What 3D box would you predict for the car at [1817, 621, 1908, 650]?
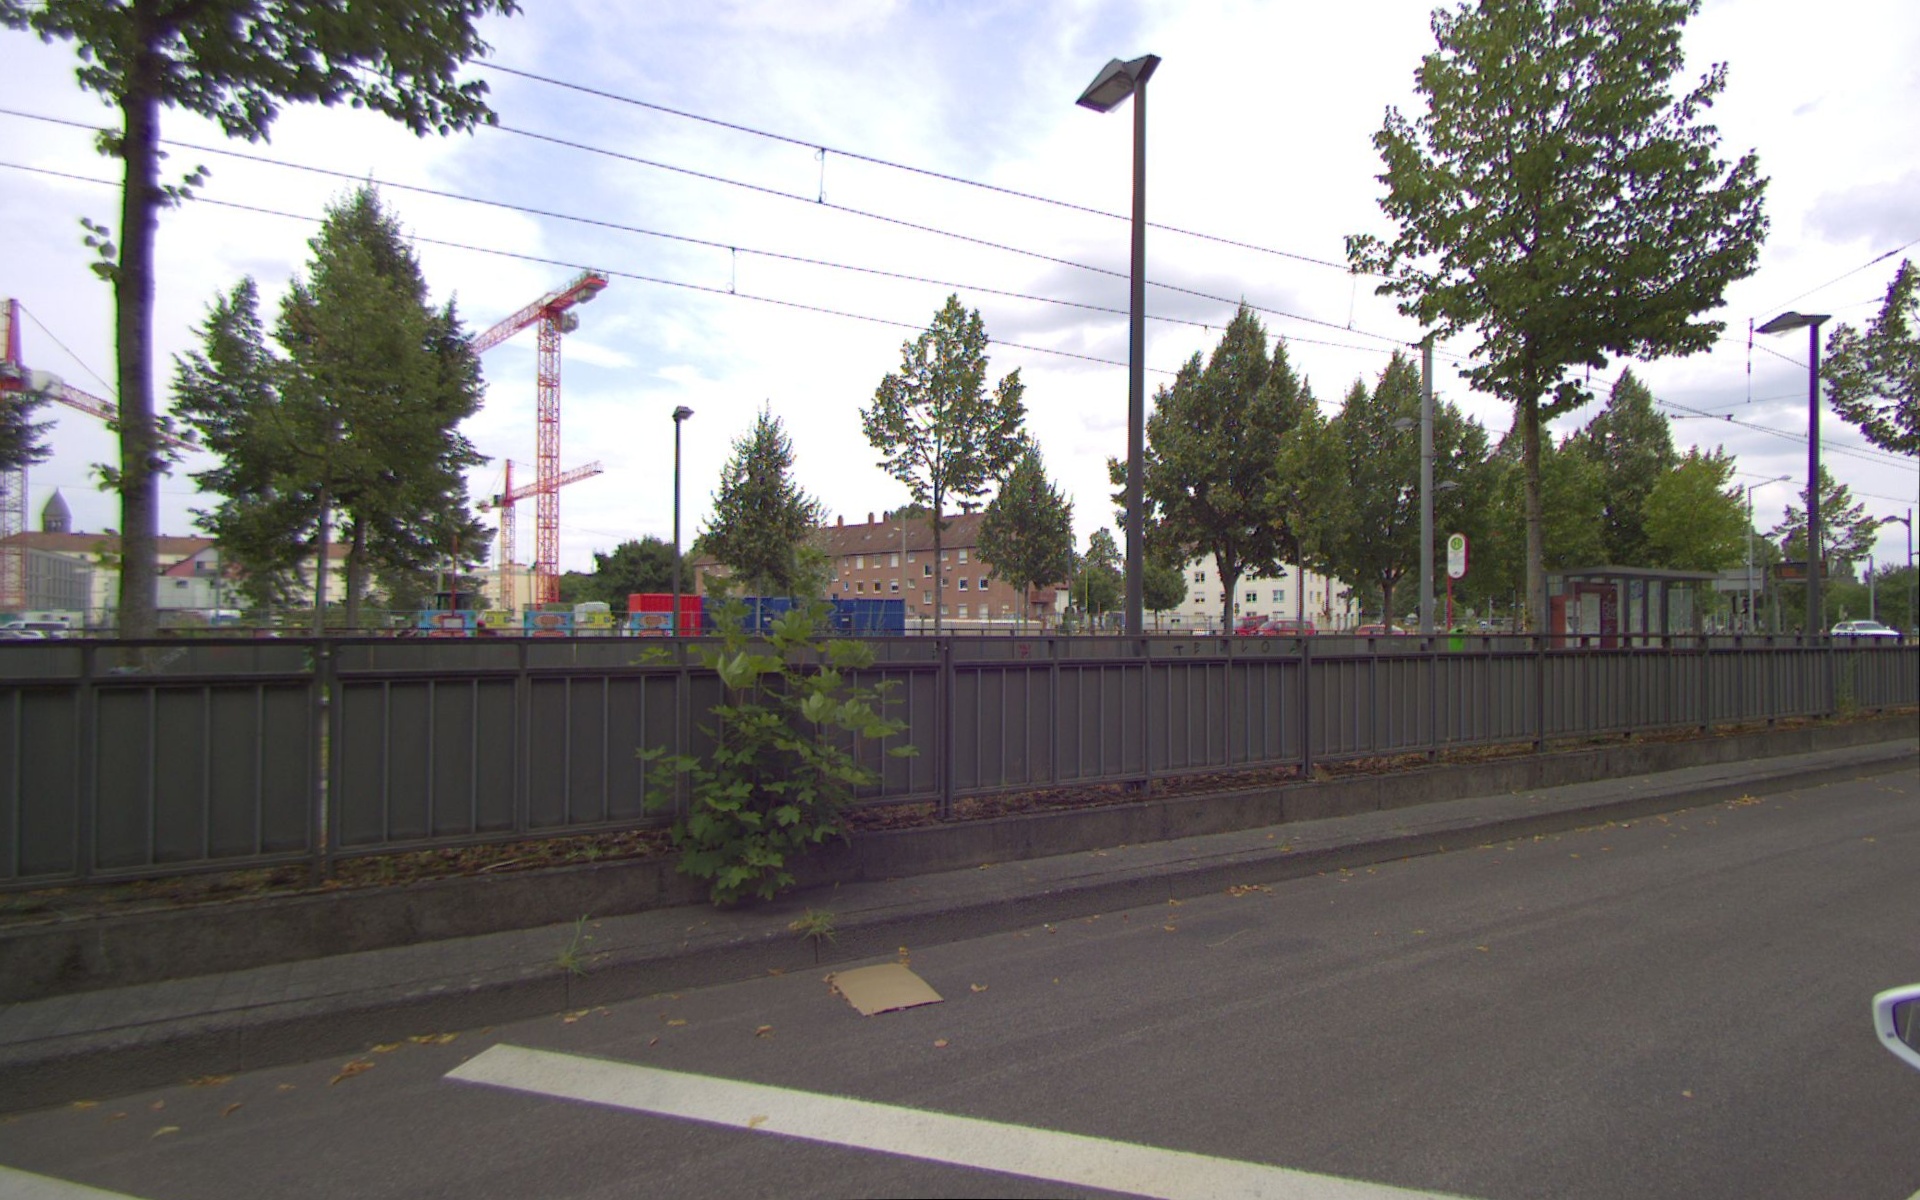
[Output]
[{"bbox_3d":[53.999,2.104,60.221,1.959,1.639,4.388,0,-1,8],"label":"car"}]
